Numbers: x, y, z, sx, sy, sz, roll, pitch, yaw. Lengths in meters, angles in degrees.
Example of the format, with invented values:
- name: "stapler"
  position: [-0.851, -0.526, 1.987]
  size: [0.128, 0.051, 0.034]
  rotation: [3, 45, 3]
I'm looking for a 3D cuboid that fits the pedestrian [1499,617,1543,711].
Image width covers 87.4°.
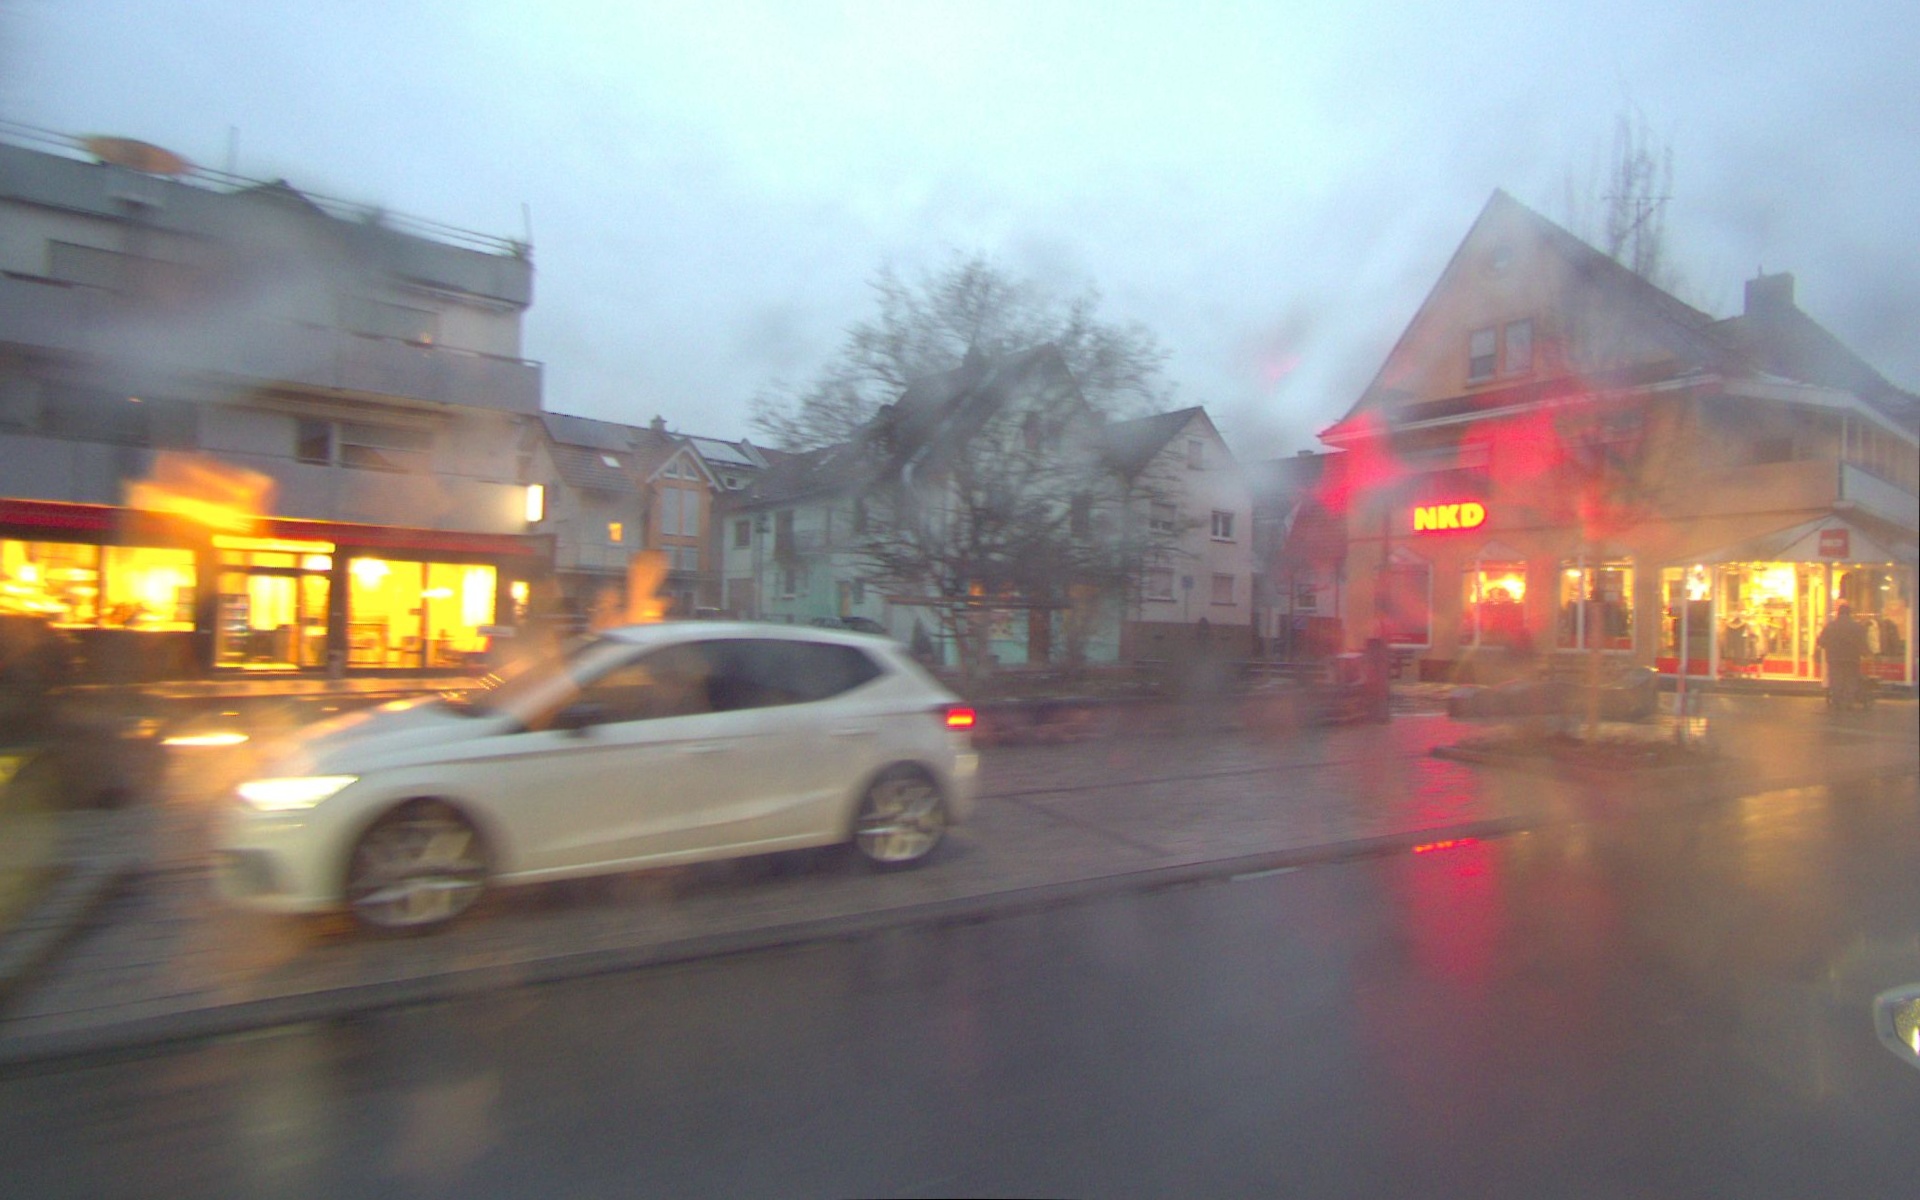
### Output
- name: "pedestrian"
  position: [12.518, 1.404, 22.432]
  size: [0.722, 2.040, 0.825]
  rotation: [2, 0, 24]

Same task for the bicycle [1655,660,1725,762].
- name: "bicycle"
  position: [8.812, 1.311, 12.104]
  size: [1.733, 1.075, 0.321]
  rotation: [0, -5, -45]

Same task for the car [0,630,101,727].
- name: "car"
  position: [-17.002, 1.295, 16.709]
  size: [3.964, 1.584, 1.979]
  rotation: [2, -3, -38]

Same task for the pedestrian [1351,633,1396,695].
- name: "pedestrian"
  position: [8.950, 1.371, 21.761]
  size: [0.673, 1.262, 0.826]
  rotation: [1, 0, 5]

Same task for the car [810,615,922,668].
- name: "car"
  position: [-3.153, 1.311, 32.980]
  size: [1.965, 1.624, 3.961]
  rotation: [1, -2, -35]

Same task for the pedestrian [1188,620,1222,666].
- name: "pedestrian"
  position: [9.560, 1.654, 39.148]
  size: [0.834, 1.738, 0.908]
  rotation: [1, 1, -41]

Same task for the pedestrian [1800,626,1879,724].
- name: "pedestrian"
  position: [15.888, 1.332, 18.150]
  size: [1.087, 1.680, 0.821]
  rotation: [1, 0, -35]

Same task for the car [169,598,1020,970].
- name: "car"
  position: [-1.865, 0.804, 5.923]
  size: [4.134, 1.508, 1.775]
  rotation: [2, 0, -30]

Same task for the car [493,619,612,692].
- name: "car"
  position: [-11.337, 1.505, 27.813]
  size: [1.983, 1.868, 3.955]
  rotation: [2, -3, -39]

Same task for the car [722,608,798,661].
- name: "car"
  position: [-7.632, 1.271, 38.130]
  size: [1.555, 1.882, 3.277]
  rotation: [1, -1, -37]
